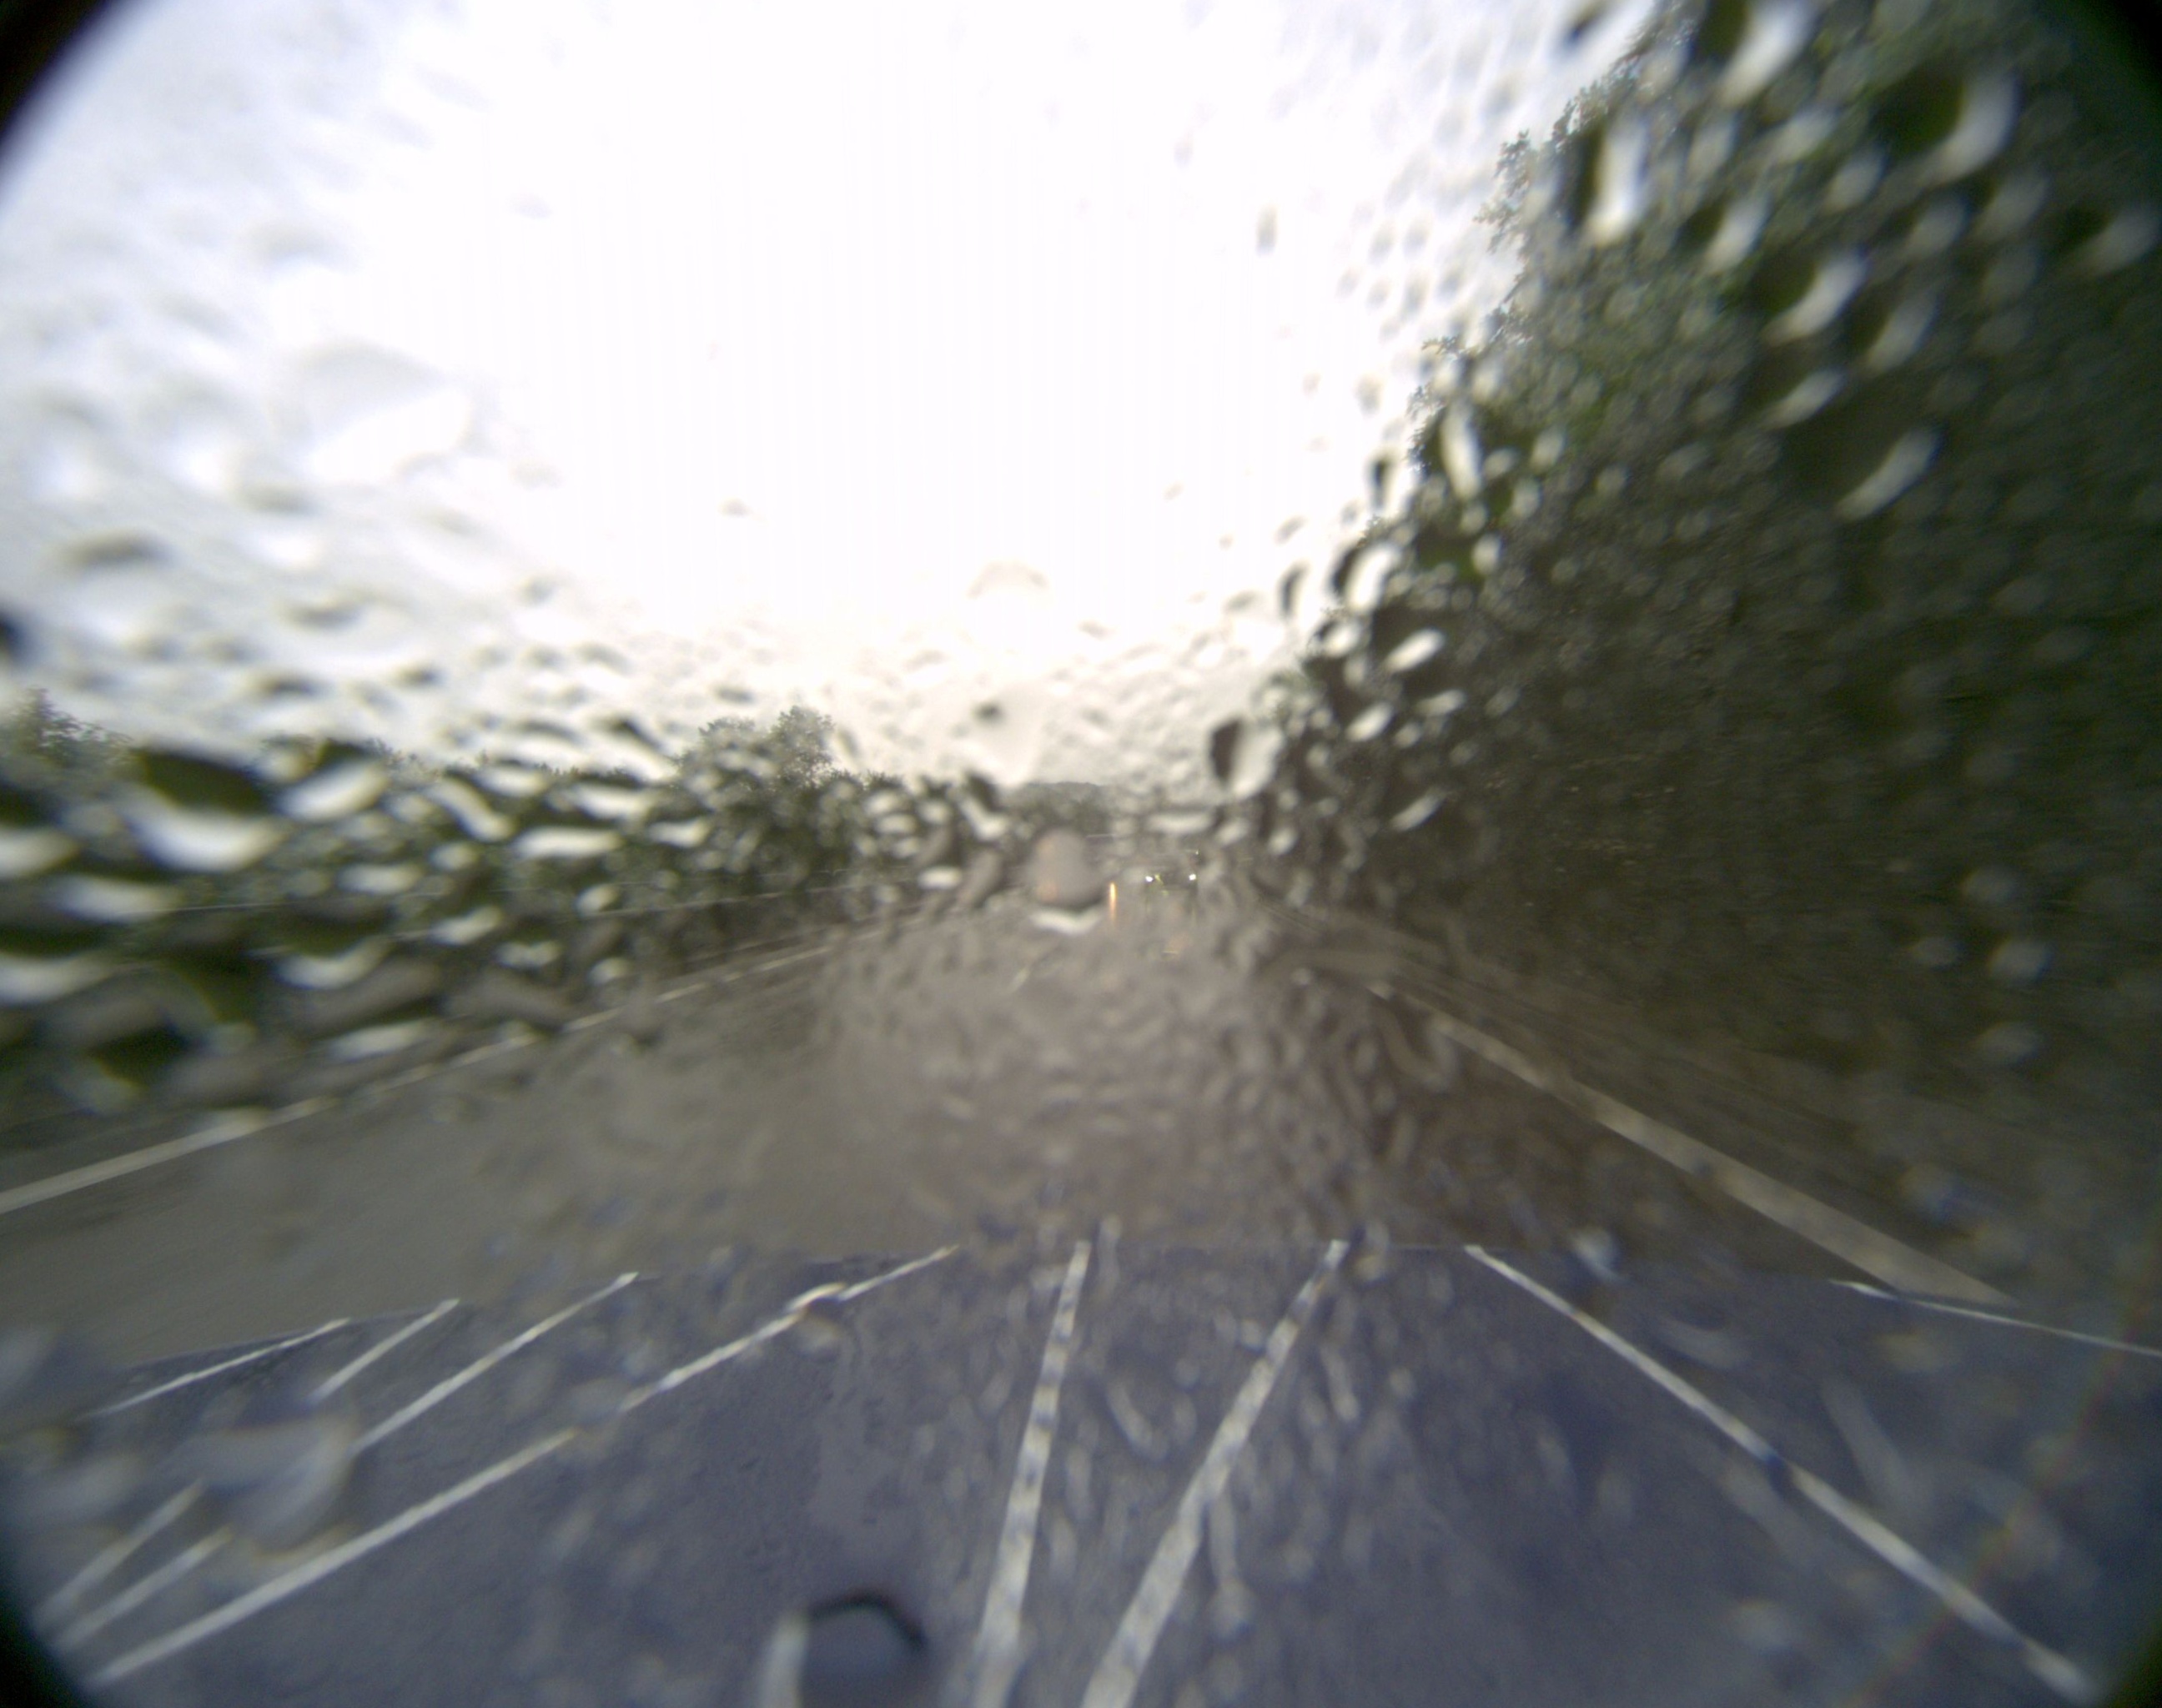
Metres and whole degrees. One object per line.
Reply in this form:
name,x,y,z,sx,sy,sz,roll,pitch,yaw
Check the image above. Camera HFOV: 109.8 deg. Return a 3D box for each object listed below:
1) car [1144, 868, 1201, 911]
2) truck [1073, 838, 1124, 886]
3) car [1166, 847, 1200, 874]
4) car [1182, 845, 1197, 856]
car,3.200,1.218,27.274,1.827,1.375,4.002,-1,-1,4
truck,1.147,0.392,44.170,2.107,2.481,8.006,-1,0,7
car,5.998,0.365,44.841,1.826,1.375,4.002,-4,0,7
car,14.997,-0.483,104.991,1.826,1.375,4.002,-4,0,9
